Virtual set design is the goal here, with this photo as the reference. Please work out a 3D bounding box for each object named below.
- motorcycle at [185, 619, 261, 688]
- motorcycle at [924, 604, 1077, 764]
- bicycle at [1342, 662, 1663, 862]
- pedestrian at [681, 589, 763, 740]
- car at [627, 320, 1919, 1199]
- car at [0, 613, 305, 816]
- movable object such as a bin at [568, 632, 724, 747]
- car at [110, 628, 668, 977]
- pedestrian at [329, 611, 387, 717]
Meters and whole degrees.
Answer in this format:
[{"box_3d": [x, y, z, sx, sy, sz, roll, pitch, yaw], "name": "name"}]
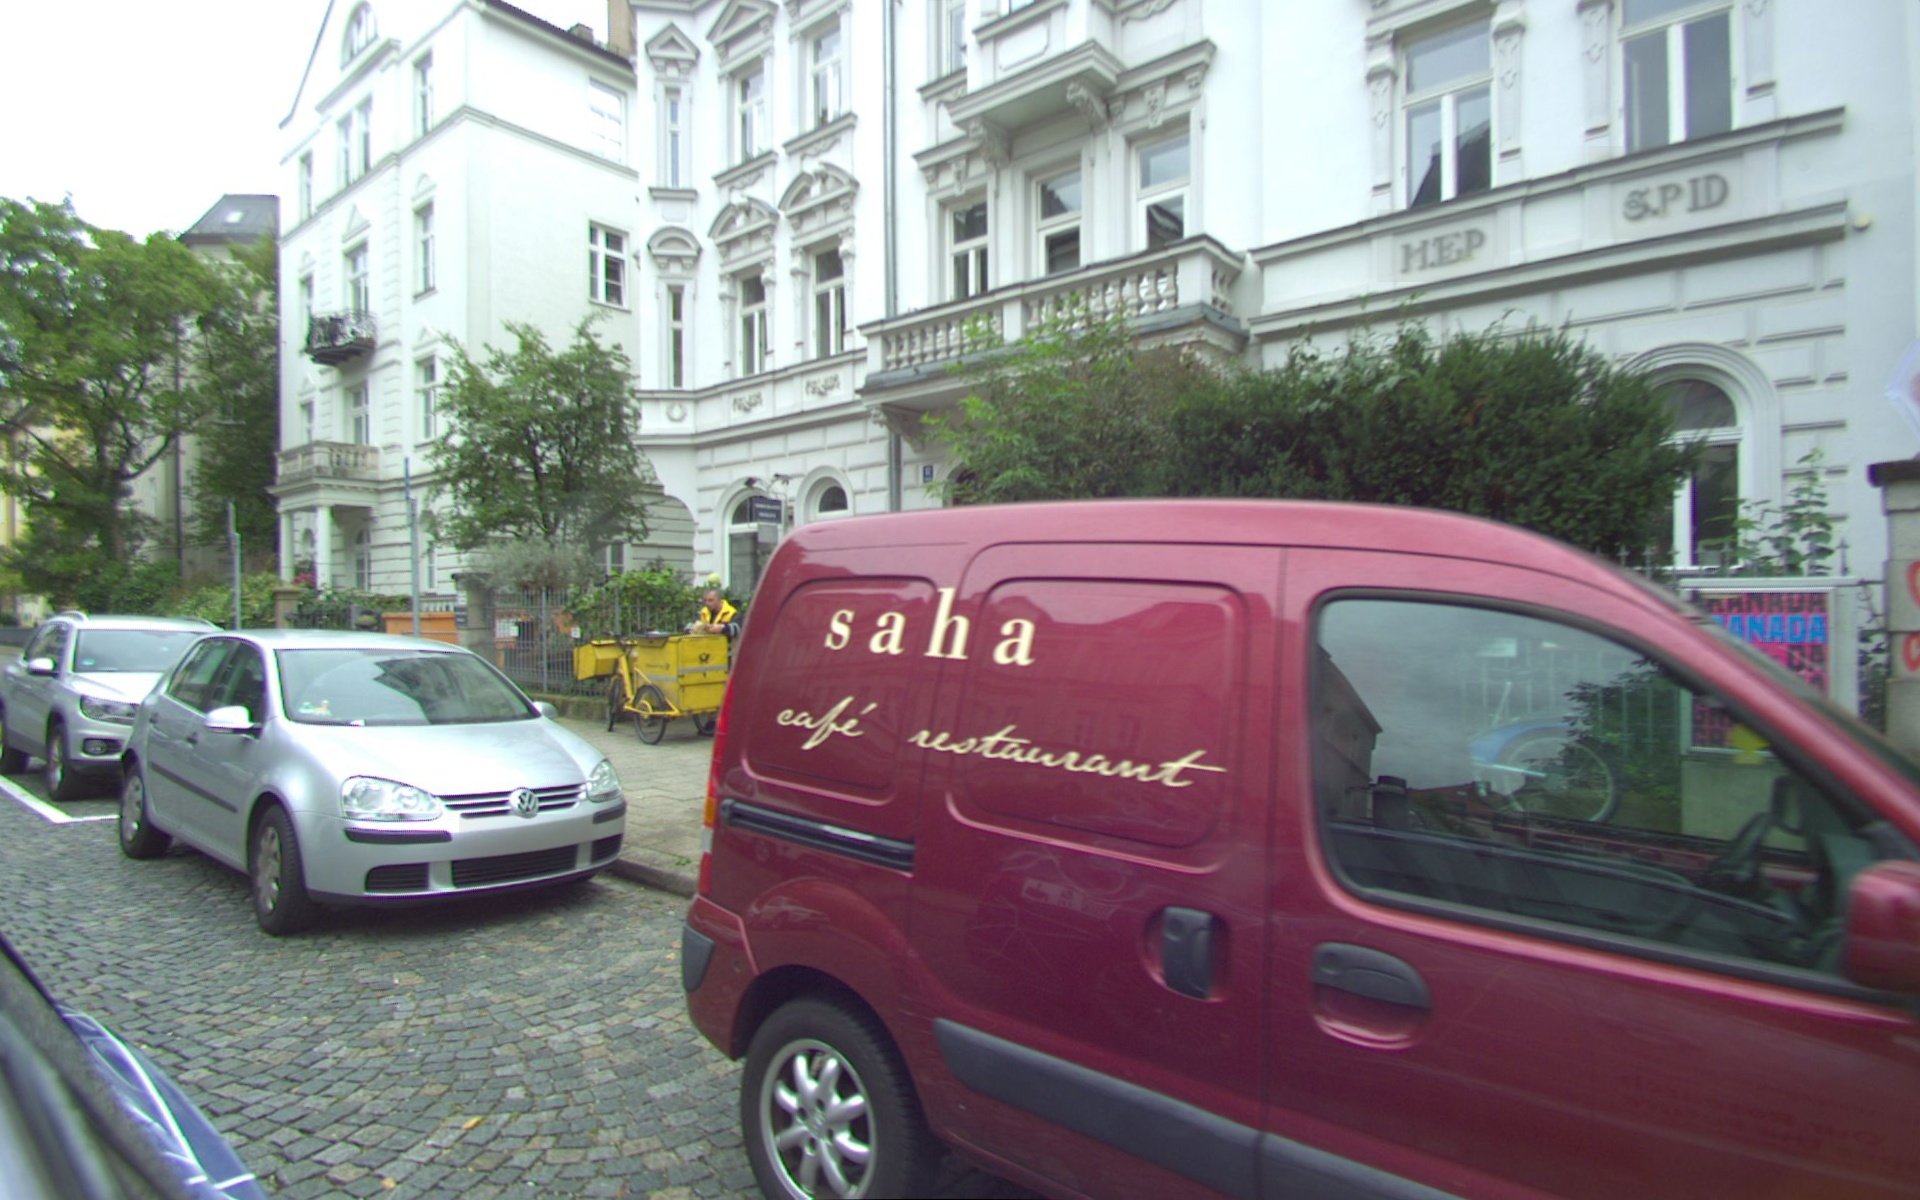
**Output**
[{"box_3d": [-16.488, 1.160, 22.617, 2.242, 1.439, 0.729, -1, 1, 37], "name": "motorcycle"}, {"box_3d": [0.290, 0.633, 8.284, 0.326, 1.188, 1.629, -1, 0, -35], "name": "motorcycle"}, {"box_3d": [3.263, 0.933, 6.204, 1.682, 1.087, 0.255, -3, -1, 36], "name": "bicycle"}, {"box_3d": [-2.740, 0.721, 11.643, 0.569, 1.659, 0.822, 0, -2, -43], "name": "pedestrian"}, {"box_3d": [1.147, 0.587, 2.108, 3.895, 1.736, 1.700, -1, -2, 40], "name": "car"}, {"box_3d": [-8.169, 0.948, 9.975, 4.063, 1.584, 1.673, -1, 0, 38], "name": "car"}, {"box_3d": [-3.752, 0.987, 11.915, 0.635, 1.174, 2.655, -1, 0, -44], "name": "movable object such as a bin"}, {"box_3d": [-3.592, 0.905, 6.091, 3.811, 1.404, 1.616, -1, 0, 38], "name": "car"}, {"box_3d": [-9.625, 1.009, 16.212, 0.655, 1.640, 0.671, -1, 0, -18], "name": "pedestrian"}]
